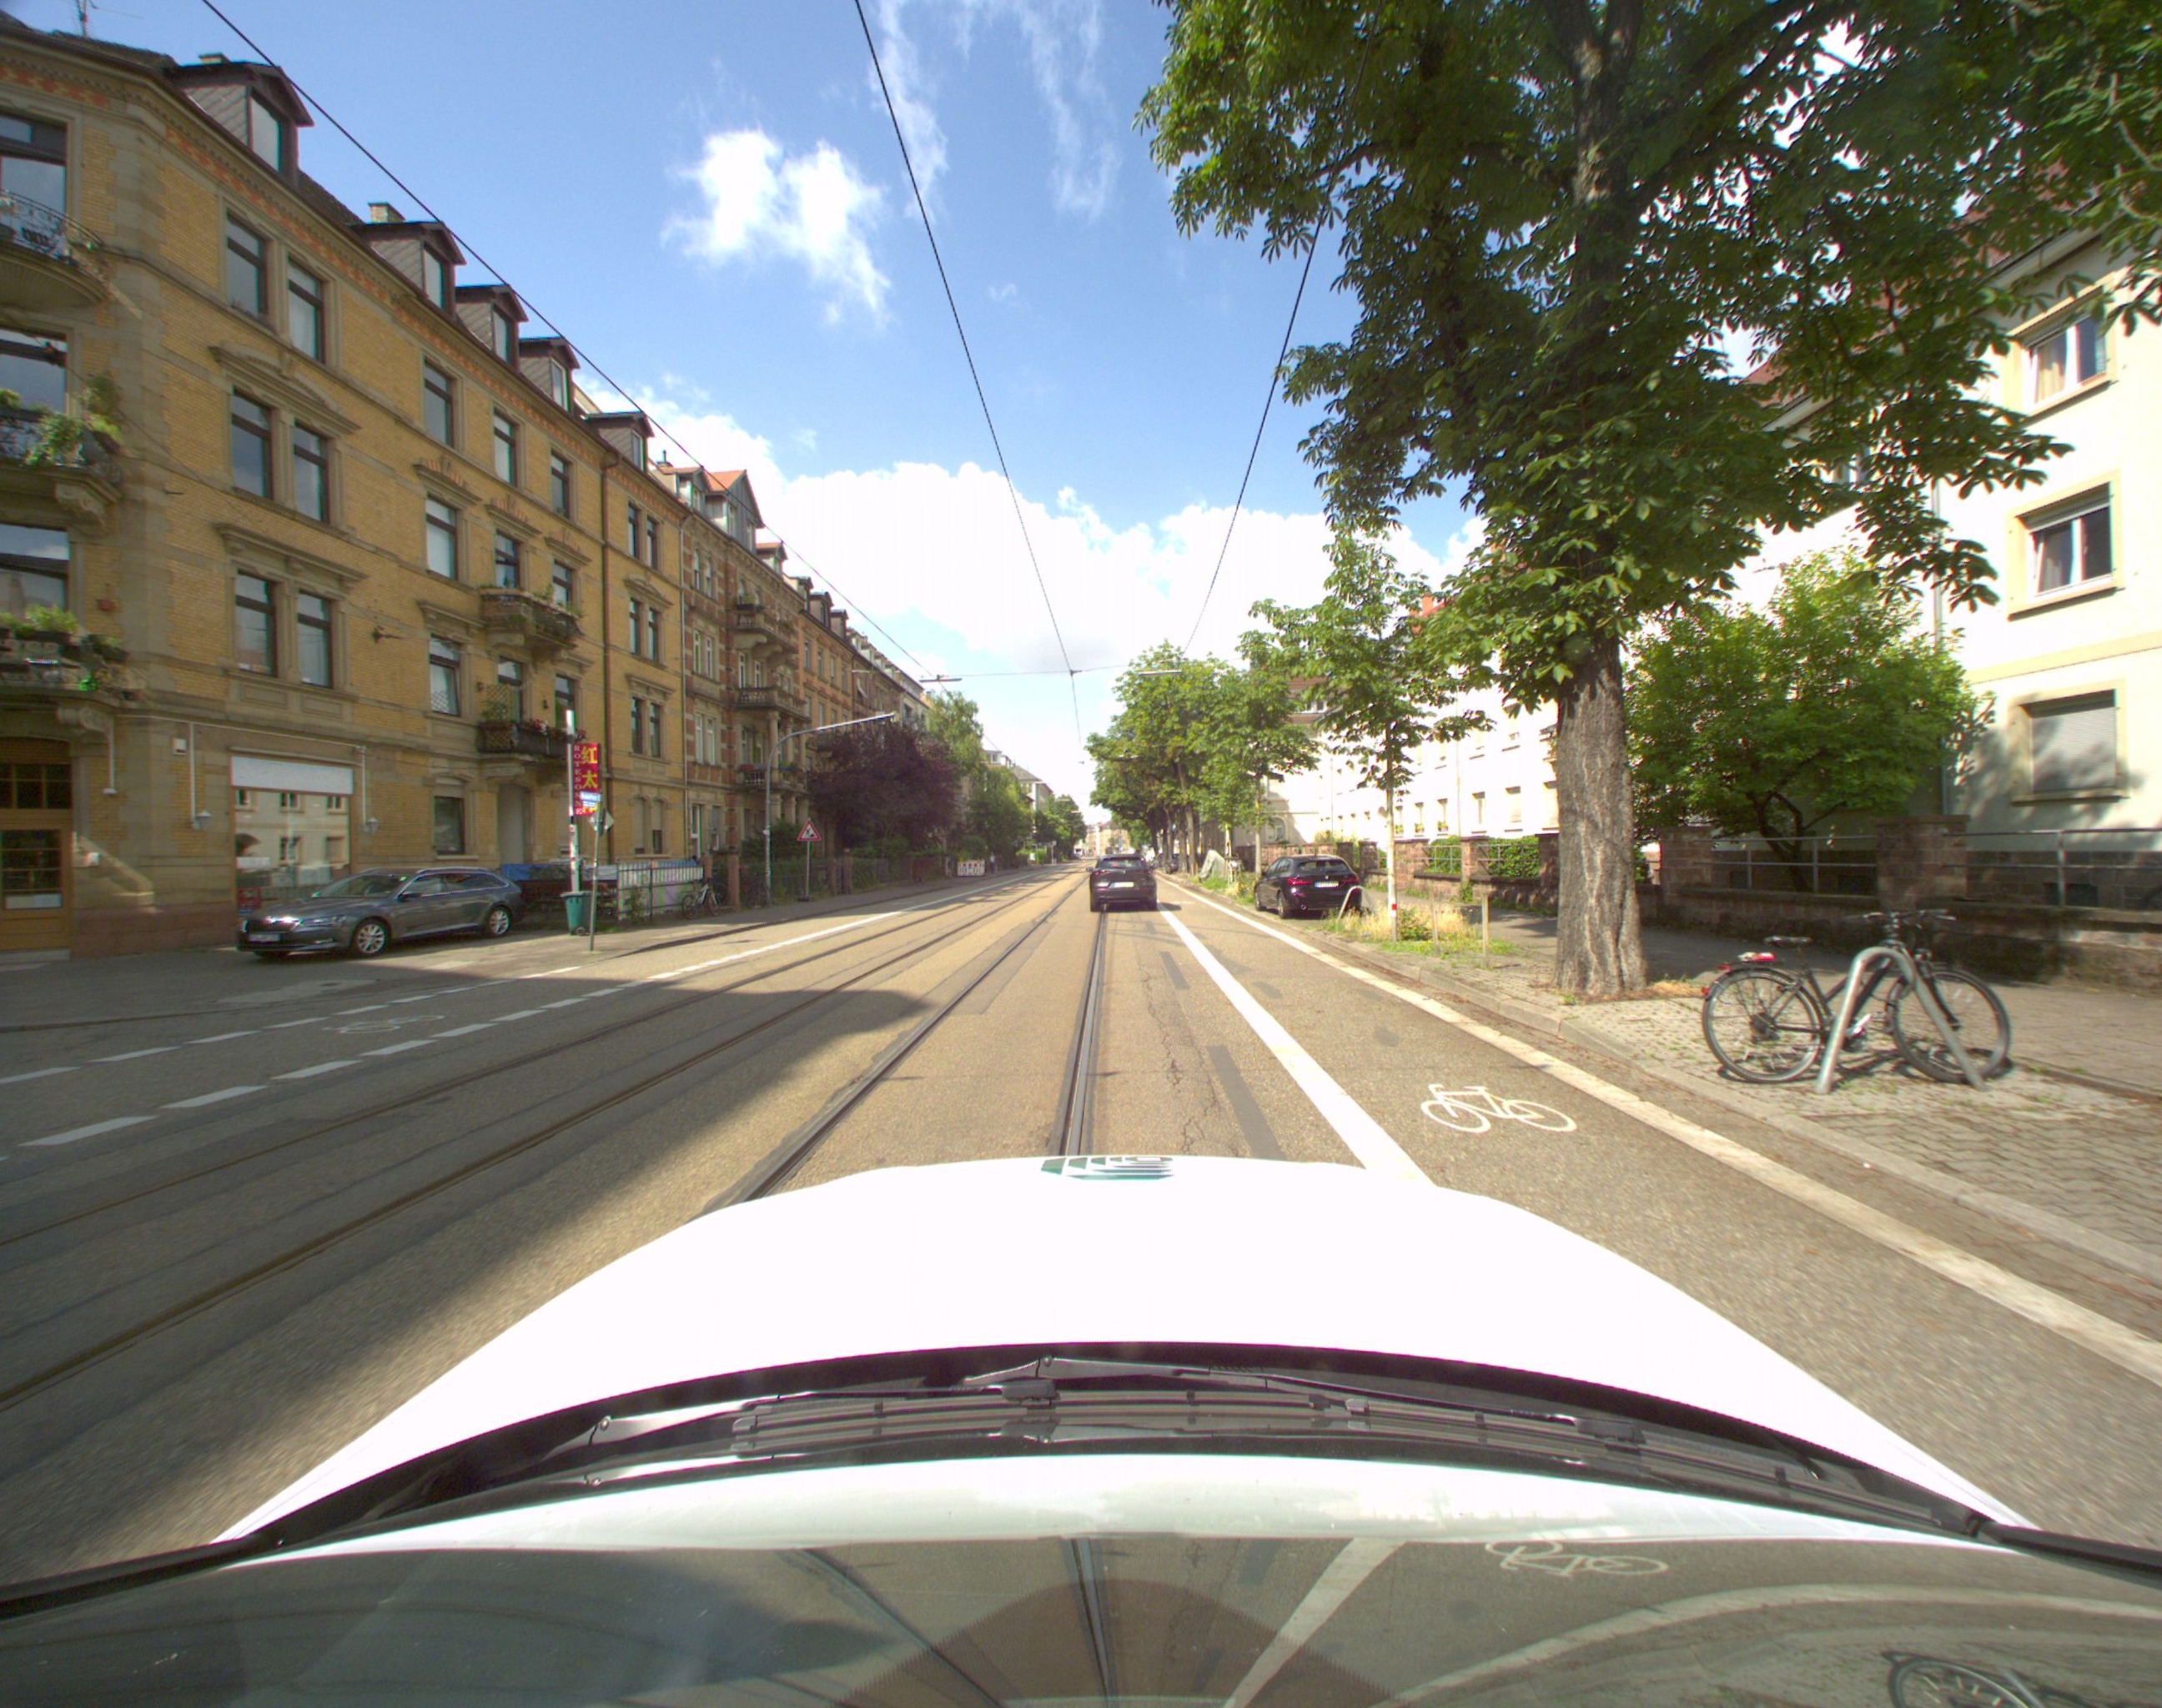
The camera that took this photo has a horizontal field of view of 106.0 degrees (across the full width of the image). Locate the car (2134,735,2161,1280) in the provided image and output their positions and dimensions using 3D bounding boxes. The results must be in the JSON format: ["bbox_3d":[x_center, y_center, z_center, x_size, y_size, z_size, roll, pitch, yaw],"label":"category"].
[{"bbox_3d":[4.349,0.497,0.322,1.820,1.782,4.735,-2,0,2],"label":"car"}]

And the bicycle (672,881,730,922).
[{"bbox_3d":[-9.995,1.235,21.519,0.528,0.946,1.969,-2,0,2],"label":"bicycle"}]

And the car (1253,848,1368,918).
[{"bbox_3d":[5.377,0.631,19.578,1.699,1.479,4.198,1,0,2],"label":"car"}]

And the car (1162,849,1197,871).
[{"bbox_3d":[6.968,0.422,57.887,1.841,1.409,4.393,-3,0,-1],"label":"car"}]

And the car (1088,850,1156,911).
[{"bbox_3d":[1.109,0.678,22.622,1.714,1.526,3.591,-1,0,2],"label":"car"}]

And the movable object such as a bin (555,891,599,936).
[{"bbox_3d":[-10.819,1.265,17.504,0.523,0.906,0.636,-2,0,0],"label":"movable object such as a bin"}]

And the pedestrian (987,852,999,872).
[{"bbox_3d":[-7.408,0.671,68.650,0.820,1.706,0.891,-1,0,-1],"label":"pedestrian"}]

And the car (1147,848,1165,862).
[{"bbox_3d":[10.760,0.135,117.271,1.783,1.938,4.984,-1,0,-4],"label":"car"}]

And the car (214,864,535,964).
[{"bbox_3d":[-12.718,0.971,15.203,1.679,1.459,4.767,-2,0,2],"label":"car"}]

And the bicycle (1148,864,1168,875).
[{"bbox_3d":[7.541,1.504,79.807,1.896,1.072,0.402,-1,-1,2],"label":"bicycle"}]

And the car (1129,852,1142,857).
[{"bbox_3d":[17.362,0.262,258.917,3.814,1.618,1.629,1,0,-16],"label":"car"}]

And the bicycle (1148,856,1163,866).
[{"bbox_3d":[7.779,0.726,85.083,1.485,0.983,0.259,-2,-1,4],"label":"bicycle"}]

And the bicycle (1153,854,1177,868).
[{"bbox_3d":[7.298,0.588,70.745,1.923,1.176,0.515,-3,-1,13],"label":"bicycle"}]

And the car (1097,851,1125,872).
[{"bbox_3d":[2.265,0.556,61.083,1.986,1.529,4.002,1,0,2],"label":"car"}]

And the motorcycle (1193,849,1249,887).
[{"bbox_3d":[6.060,0.585,35.349,2.357,1.597,0.683,1,1,40],"label":"motorcycle"}]

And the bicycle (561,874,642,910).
[{"bbox_3d":[-13.512,1.060,22.954,1.954,0.946,0.532,-2,0,1],"label":"bicycle"}]

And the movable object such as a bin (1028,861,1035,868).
[{"bbox_3d":[-6.438,1.358,106.208,0.742,0.988,1.115,1,0,2],"label":"movable object such as a bin"}]

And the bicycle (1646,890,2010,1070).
[{"bbox_3d":[4.713,0.775,5.224,1.701,1.007,0.638,-2,0,2],"label":"bicycle"}]

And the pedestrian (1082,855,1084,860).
[{"bbox_3d":[0.628,1.209,248.100,0.749,1.510,0.823,-1,0,-2],"label":"pedestrian"}]

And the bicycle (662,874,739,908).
[{"bbox_3d":[-11.110,1.088,23.809,1.957,0.946,0.531,-1,0,-3],"label":"bicycle"}]

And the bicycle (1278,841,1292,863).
[{"bbox_3d":[11.510,-0.130,45.952,0.410,1.211,1.705,-1,0,3],"label":"bicycle"}]

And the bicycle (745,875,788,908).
[{"bbox_3d":[-9.943,1.164,25.821,0.528,0.946,1.969,-2,0,2],"label":"bicycle"}]

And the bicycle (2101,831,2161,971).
[{"bbox_3d":[9.738,0.415,6.963,0.302,1.244,1.461,-2,0,7],"label":"bicycle"}]

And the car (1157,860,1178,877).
[{"bbox_3d":[7.992,1.345,75.339,1.659,1.430,3.768,-3,0,2],"label":"car"}]
